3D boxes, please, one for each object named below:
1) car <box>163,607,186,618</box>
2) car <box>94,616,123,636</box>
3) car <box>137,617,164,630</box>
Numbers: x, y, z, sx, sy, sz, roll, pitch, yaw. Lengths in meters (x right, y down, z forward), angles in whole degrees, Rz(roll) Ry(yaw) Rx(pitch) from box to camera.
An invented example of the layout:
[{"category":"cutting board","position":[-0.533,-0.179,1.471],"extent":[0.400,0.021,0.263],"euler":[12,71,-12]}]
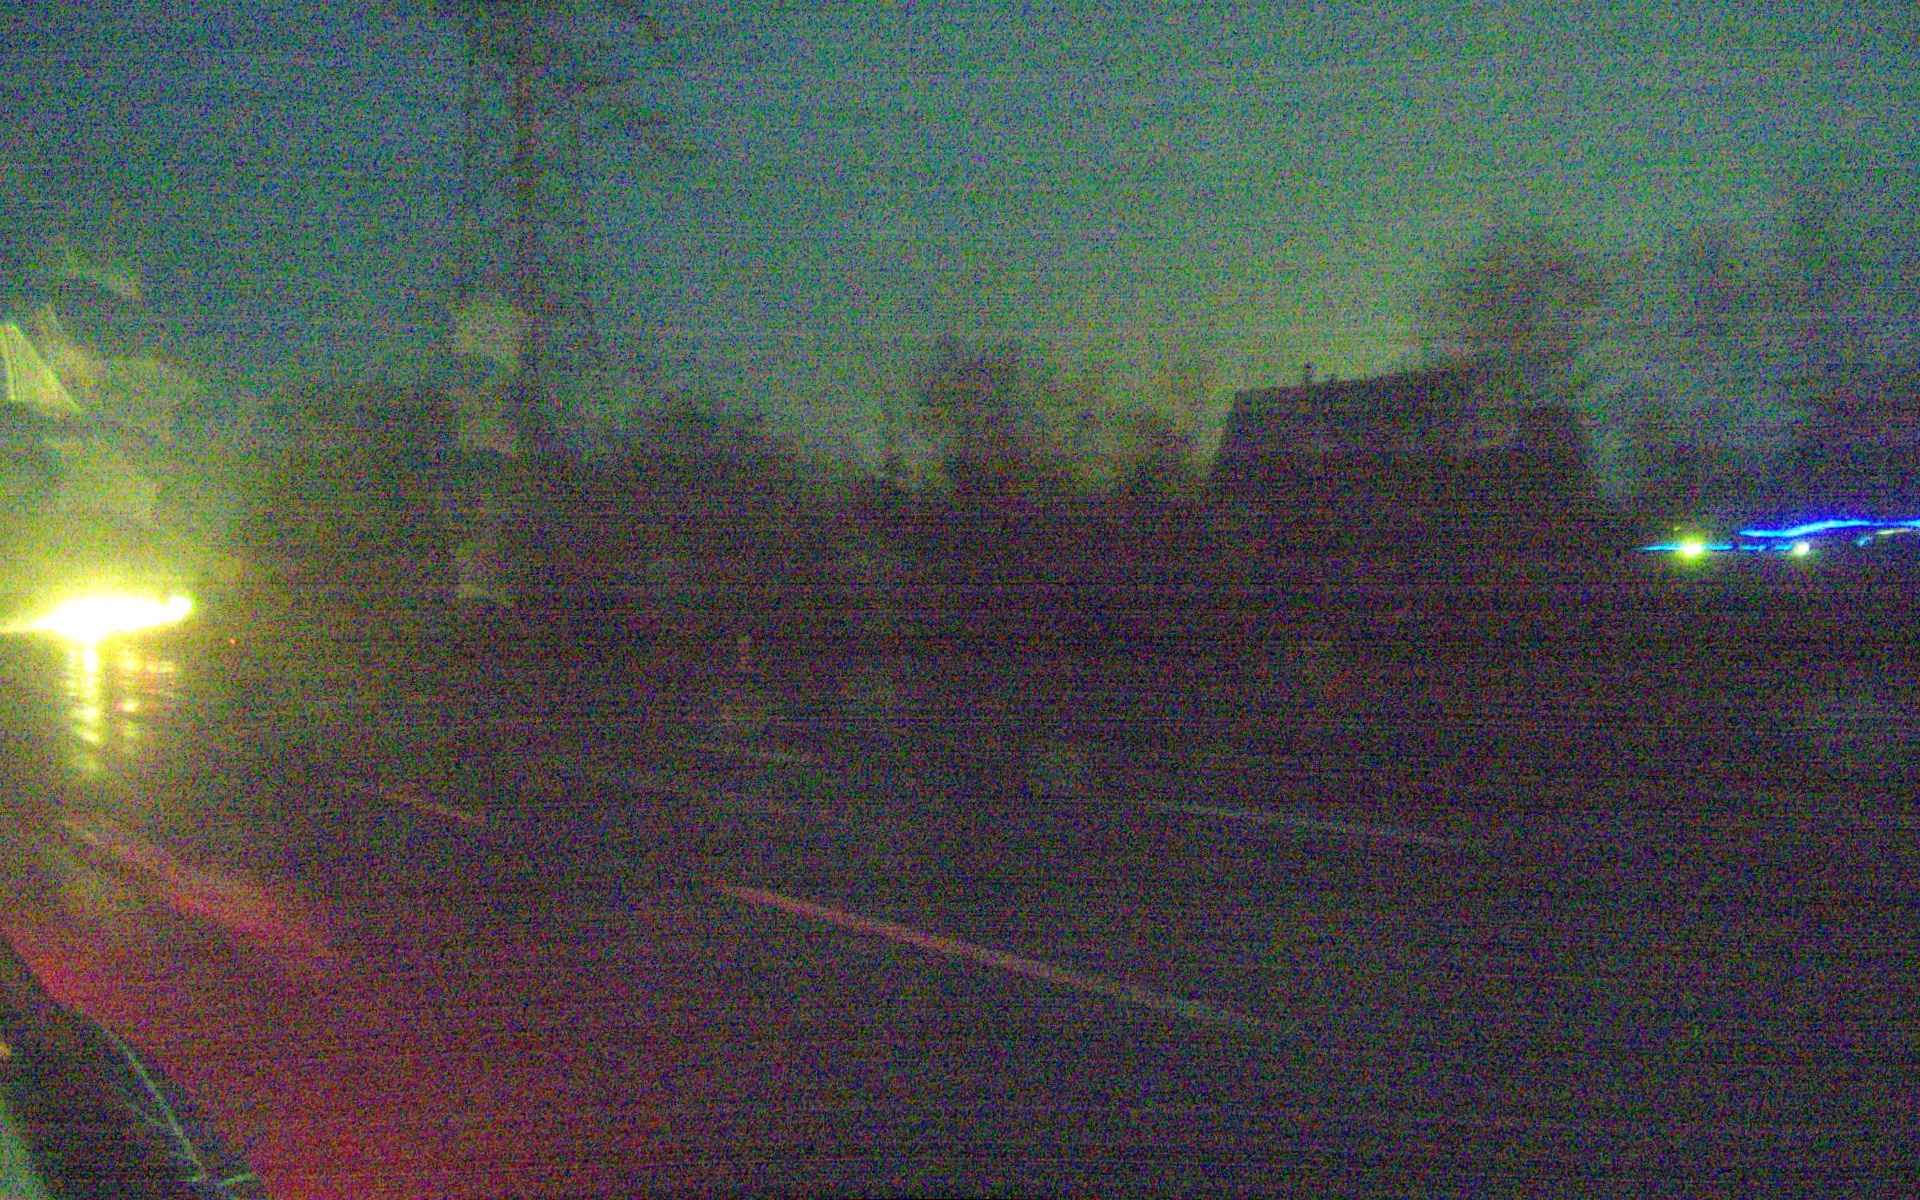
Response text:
[{"category":"car","position":[-102.716,1.643,132.404],"extent":[1.746,1.399,4.246],"euler":[0,0,-28]},{"category":"car","position":[-79.683,2.386,94.765],"extent":[1.835,1.760,4.973],"euler":[0,0,-37]},{"category":"car","position":[-92.832,2.712,116.052],"extent":[1.746,1.399,4.048],"euler":[0,0,-29]}]
